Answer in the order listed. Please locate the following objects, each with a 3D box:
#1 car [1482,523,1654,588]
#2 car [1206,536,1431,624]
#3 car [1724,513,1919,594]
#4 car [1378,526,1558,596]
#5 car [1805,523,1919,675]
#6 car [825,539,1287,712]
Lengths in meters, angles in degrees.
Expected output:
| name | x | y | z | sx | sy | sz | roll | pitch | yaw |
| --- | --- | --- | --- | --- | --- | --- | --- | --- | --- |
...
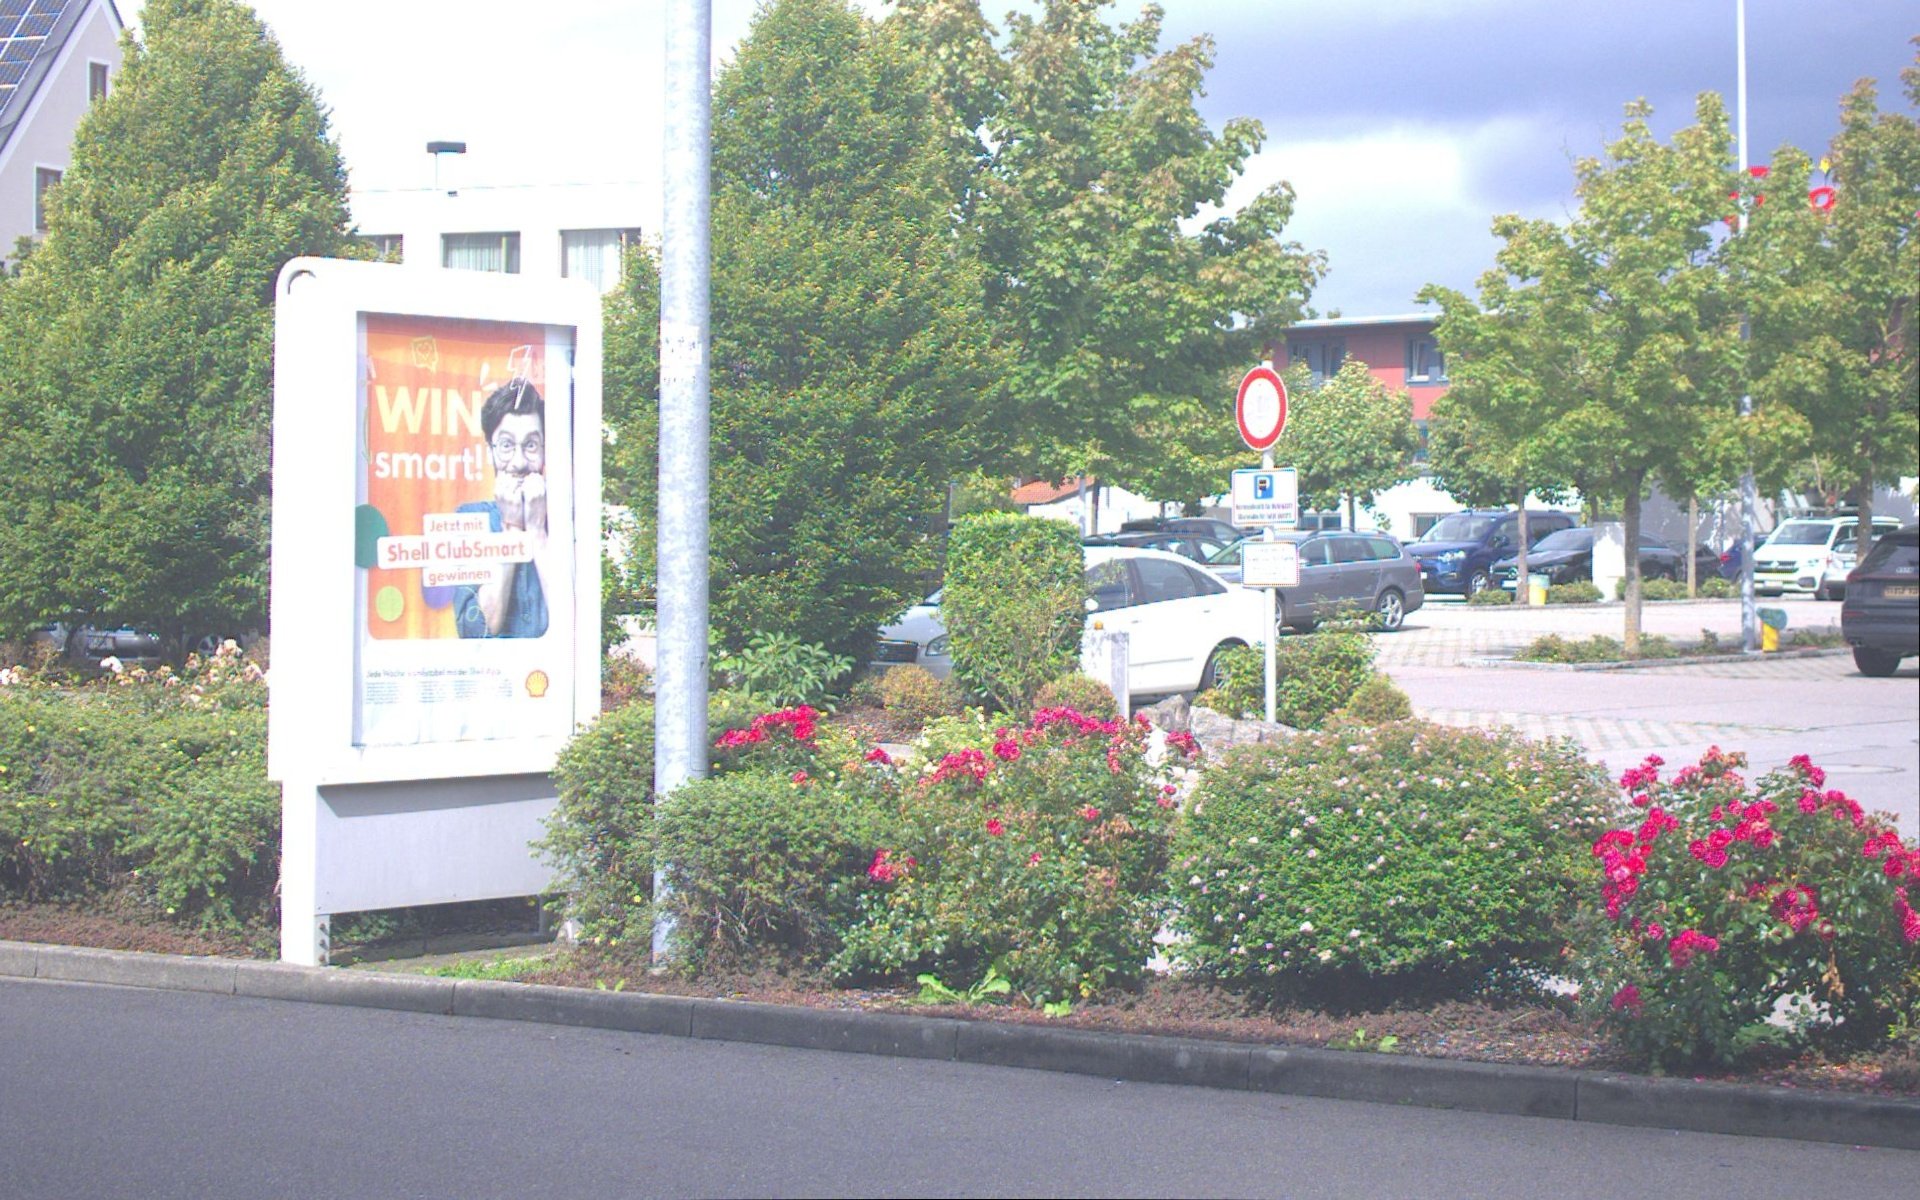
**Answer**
| name | x | y | z | sx | sy | sz | roll | pitch | yaw |
| --- | --- | --- | --- | --- | --- | --- | --- | --- | --- |
| car | 11.521 | -0.839 | 65.051 | 3.409 | 1.174 | 1.485 | 0 | 1 | -44 |
| car | 5.205 | -0.289 | 49.733 | 3.218 | 1.224 | 1.505 | 0 | 1 | -44 |
| car | 20.256 | -1.086 | 80.656 | 4.864 | 1.827 | 2.184 | 0 | 1 | -43 |
| car | 9.892 | -0.758 | 66.800 | 3.379 | 1.316 | 1.747 | 0 | 1 | -44 |
| car | 11.133 | -0.008 | 36.746 | 4.491 | 1.543 | 1.885 | 0 | 1 | -43 |
| car | 0.903 | 0.204 | 29.945 | 4.332 | 1.399 | 1.370 | 0 | 1 | -44 |
